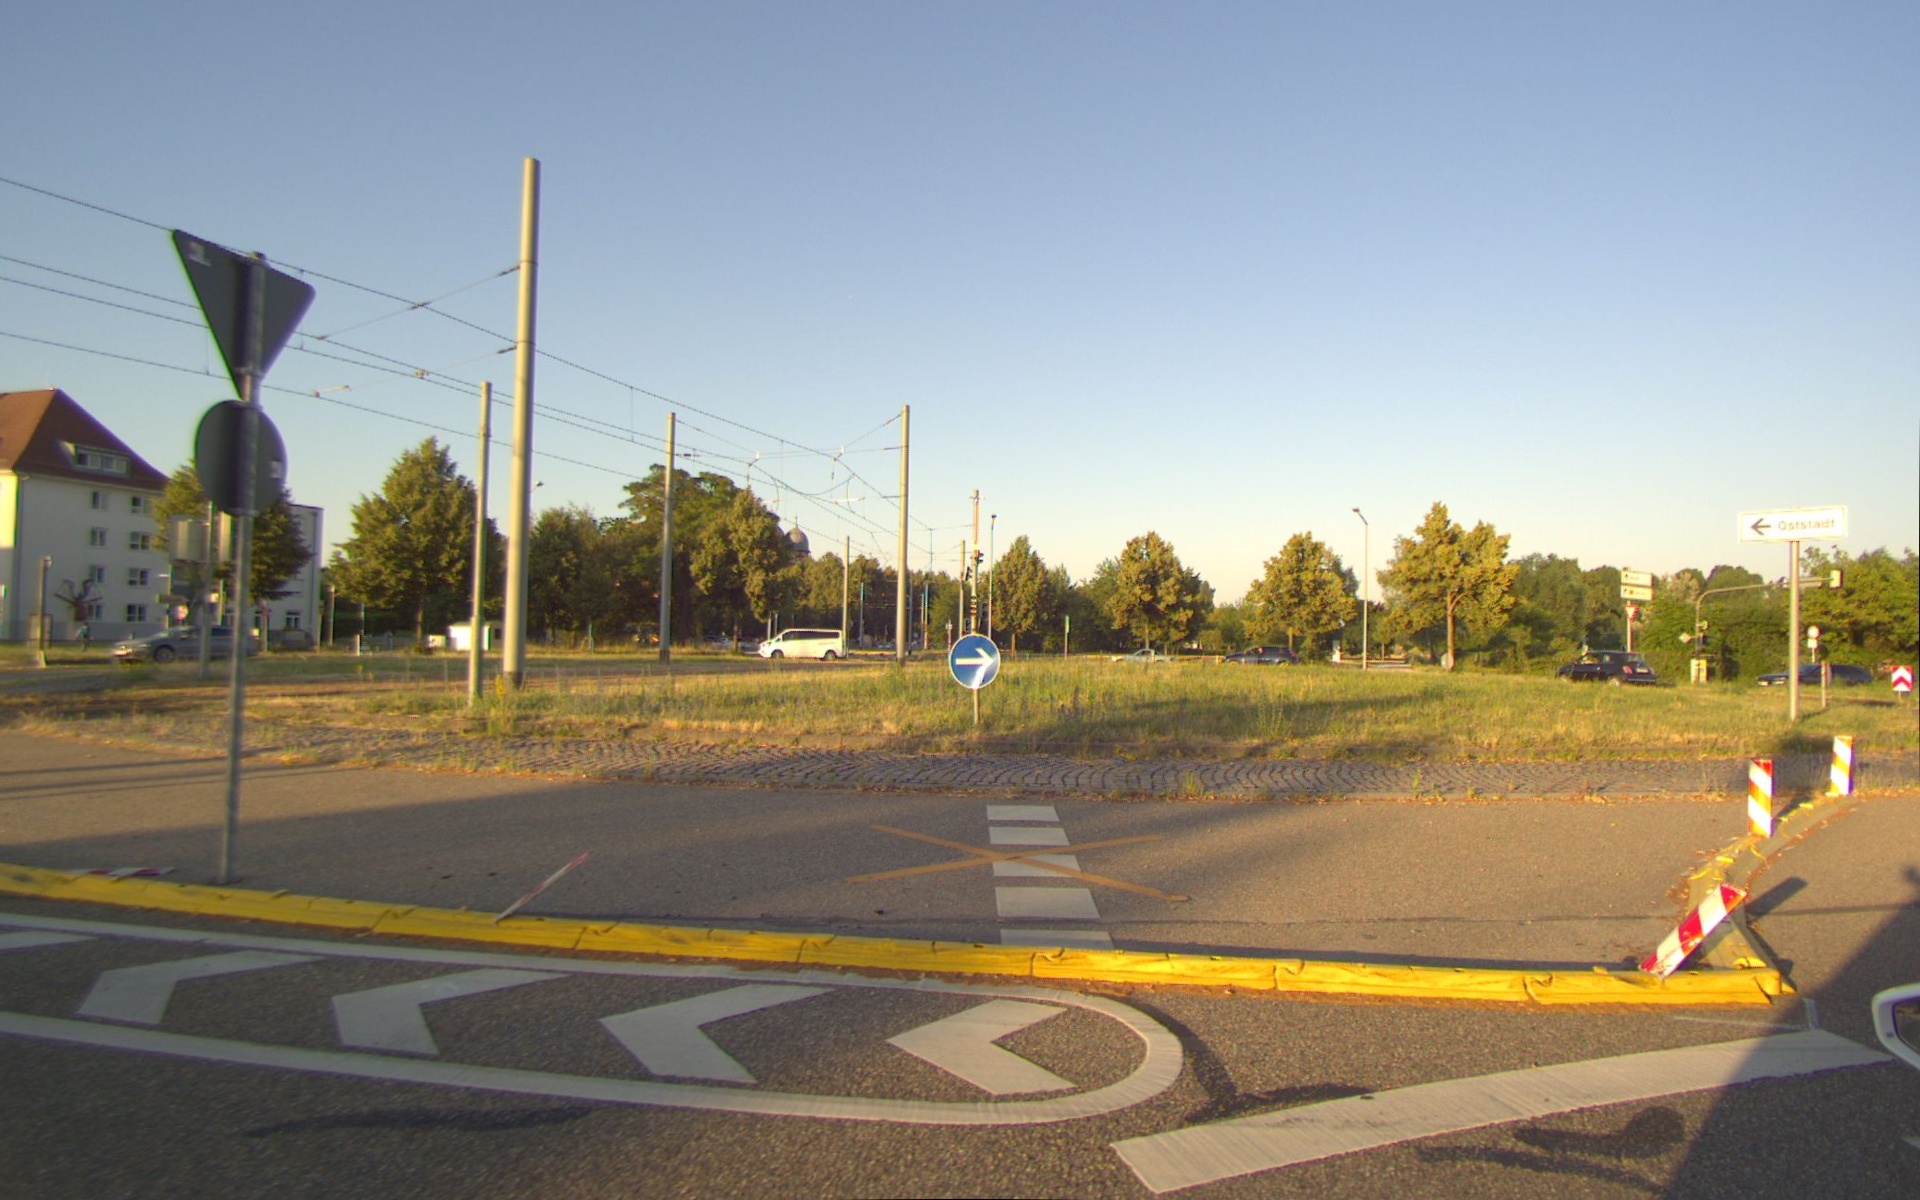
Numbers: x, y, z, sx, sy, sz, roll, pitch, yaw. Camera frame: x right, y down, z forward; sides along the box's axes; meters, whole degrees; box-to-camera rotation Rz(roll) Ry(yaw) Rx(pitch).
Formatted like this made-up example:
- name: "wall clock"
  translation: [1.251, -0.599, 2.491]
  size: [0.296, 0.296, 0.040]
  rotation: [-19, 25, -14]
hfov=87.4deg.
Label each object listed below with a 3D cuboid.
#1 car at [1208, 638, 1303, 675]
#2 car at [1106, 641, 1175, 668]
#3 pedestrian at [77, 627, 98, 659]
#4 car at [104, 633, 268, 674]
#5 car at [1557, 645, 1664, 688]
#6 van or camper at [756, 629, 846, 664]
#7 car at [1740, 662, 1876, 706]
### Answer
- name: "car"
  translation: [15.172, 2.861, 51.586]
  size: [4.508, 1.770, 1.751]
  rotation: [0, -2, 21]
- name: "car"
  translation: [10.332, 3.102, 57.513]
  size: [3.705, 1.272, 1.580]
  rotation: [2, -1, 17]
- name: "pedestrian"
  translation: [-45.893, 2.271, 52.841]
  size: [0.555, 1.643, 0.595]
  rotation: [1, -1, 13]
- name: "car"
  translation: [-29.302, 1.991, 38.227]
  size: [1.893, 1.434, 4.652]
  rotation: [0, -2, 20]
- name: "car"
  translation: [24.876, 2.510, 38.572]
  size: [1.716, 1.465, 4.137]
  rotation: [1, -2, 5]
- name: "van or camper"
  translation: [-9.772, 2.859, 61.890]
  size: [5.219, 2.036, 1.907]
  rotation: [2, -1, -18]
- name: "car"
  translation: [37.984, 3.743, 45.073]
  size: [4.505, 1.770, 1.752]
  rotation: [1, -2, 3]
